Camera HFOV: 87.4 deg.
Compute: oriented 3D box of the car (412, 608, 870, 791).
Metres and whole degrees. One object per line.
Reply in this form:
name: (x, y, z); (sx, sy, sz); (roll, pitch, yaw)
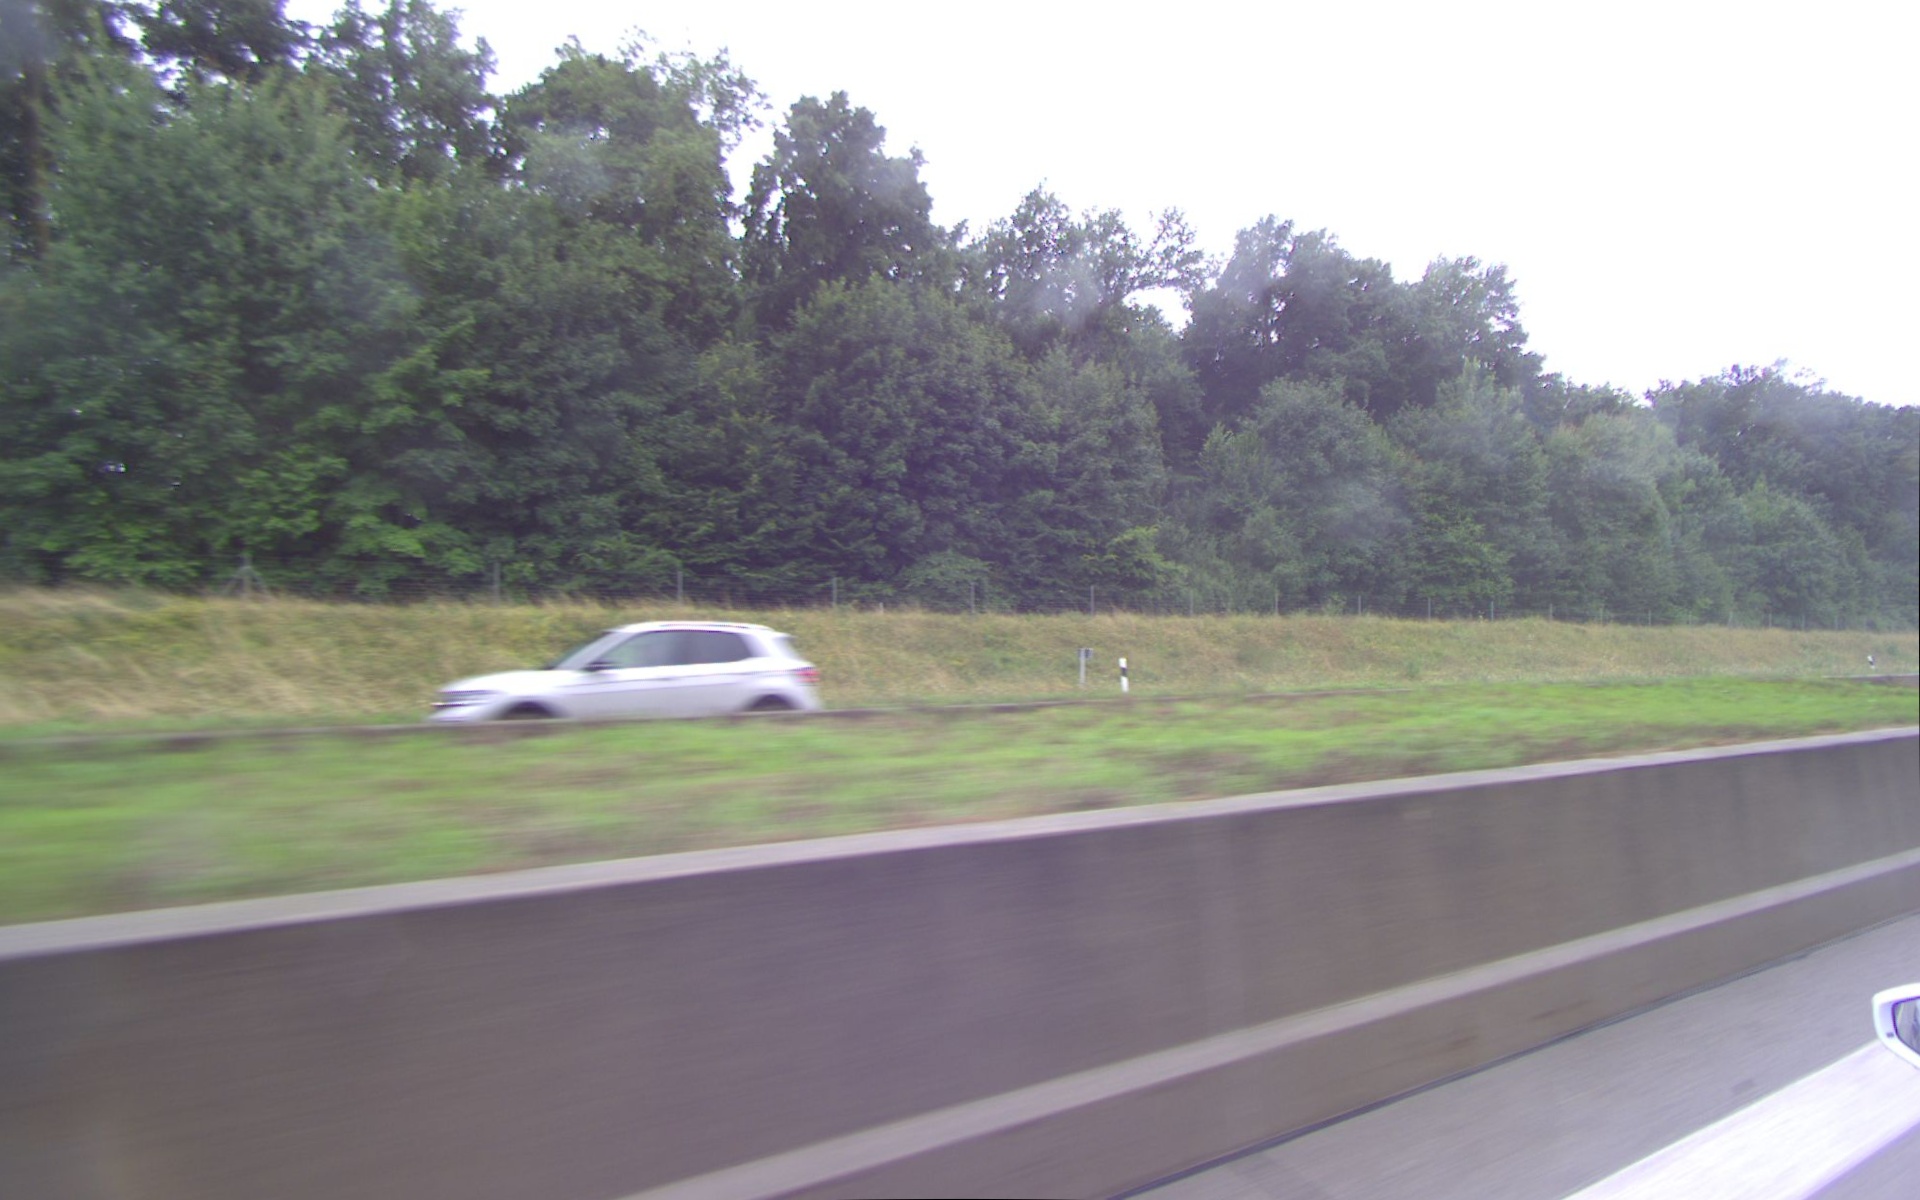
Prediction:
car: (-3.507, 1.006, 11.323); (4.633, 1.687, 1.870); (2, -3, -31)
